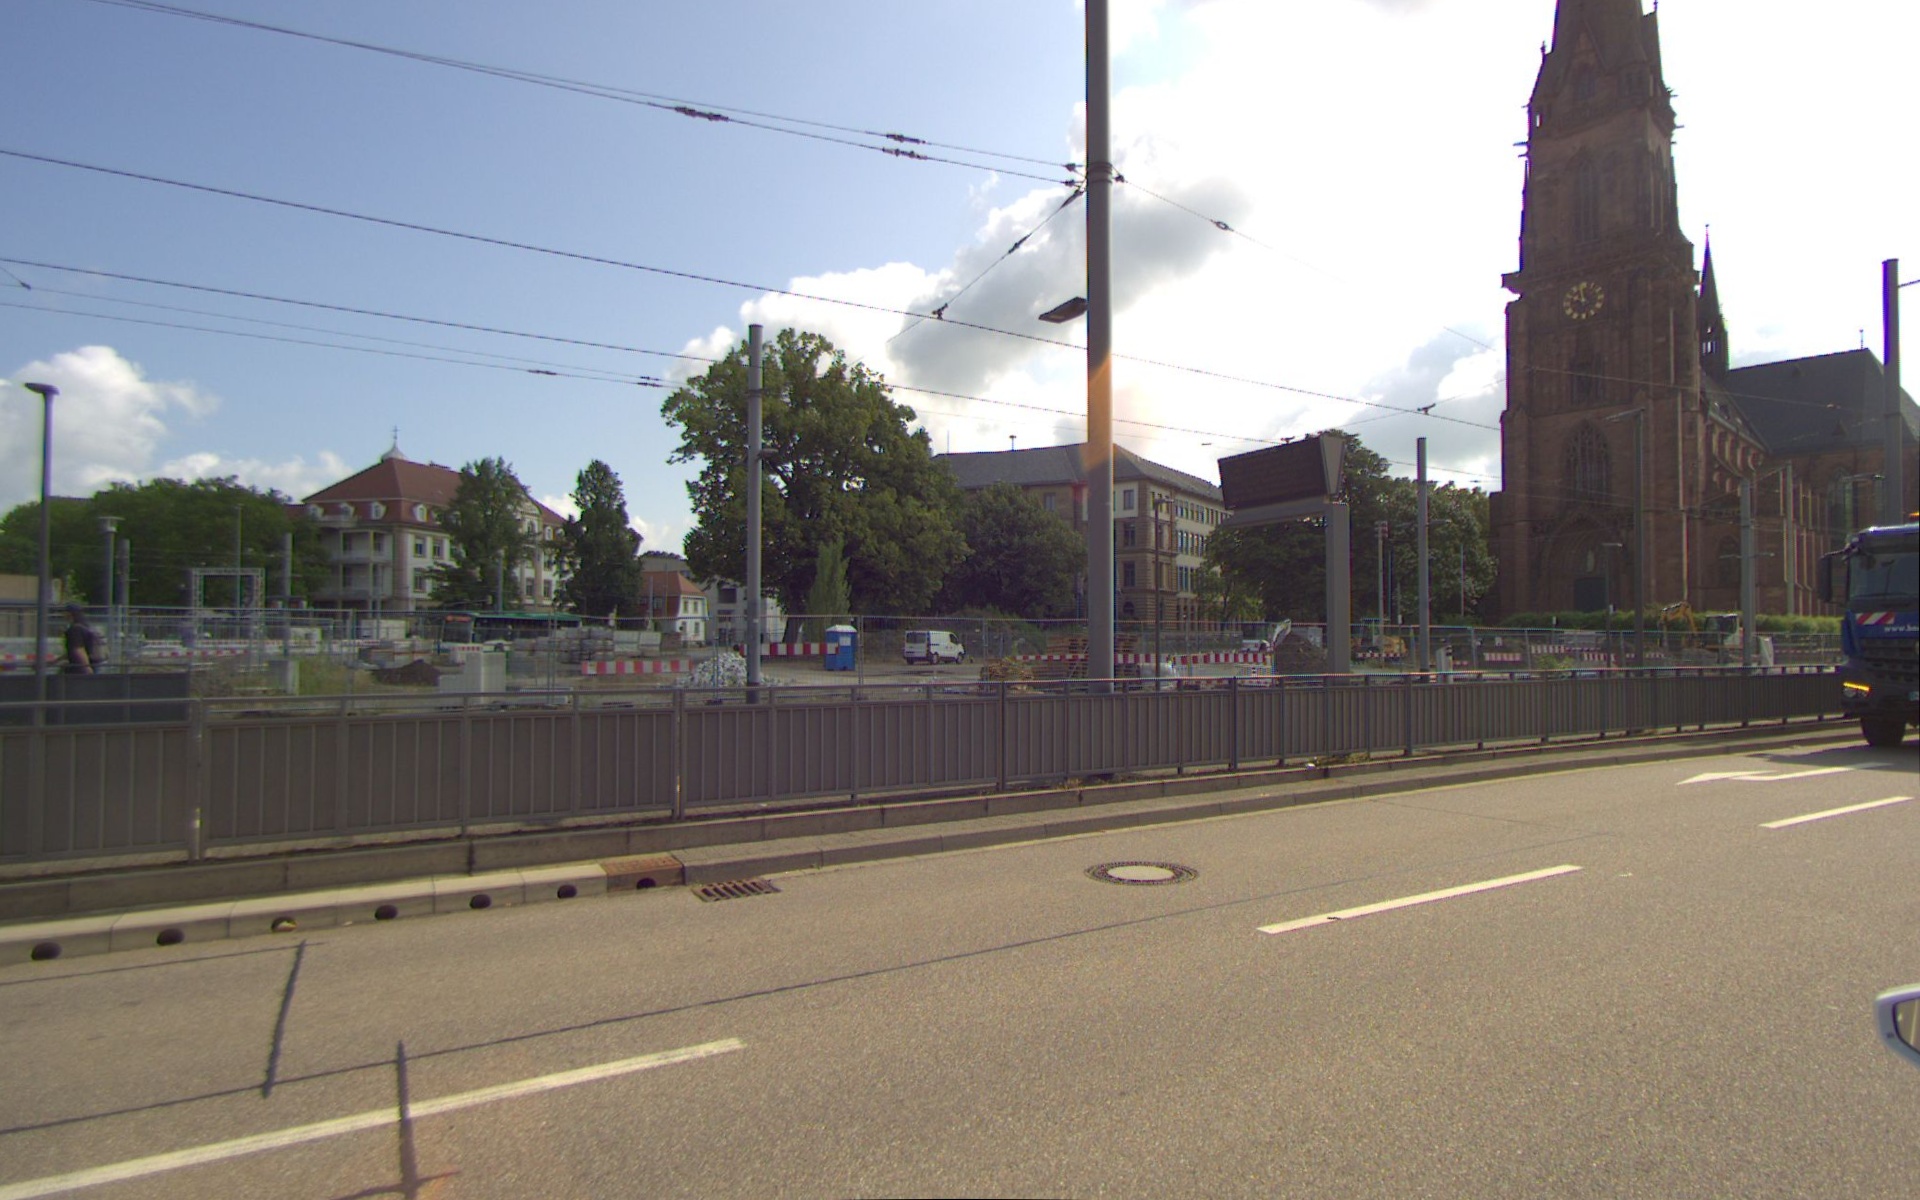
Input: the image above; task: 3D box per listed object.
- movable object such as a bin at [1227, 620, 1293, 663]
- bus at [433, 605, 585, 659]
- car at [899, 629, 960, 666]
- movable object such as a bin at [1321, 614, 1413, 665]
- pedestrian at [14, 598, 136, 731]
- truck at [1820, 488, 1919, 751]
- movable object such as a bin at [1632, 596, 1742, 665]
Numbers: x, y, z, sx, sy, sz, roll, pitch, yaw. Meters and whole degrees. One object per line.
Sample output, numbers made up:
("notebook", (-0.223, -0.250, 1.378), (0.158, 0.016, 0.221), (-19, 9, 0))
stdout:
("movable object such as a bin", (16.392, 2.202, 54.781), (1.970, 2.235, 4.252), (0, -1, 40))
("bus", (-31.709, 2.319, 71.563), (2.905, 3.554, 12.262), (0, -2, 14))
("car", (-1.787, 2.859, 60.249), (1.963, 2.040, 3.996), (2, -3, 27))
("movable object such as a bin", (23.704, 2.257, 58.689), (1.976, 2.839, 4.882), (1, -1, -29))
("pedestrian", (-12.788, 0.891, 14.562), (1.032, 1.824, 0.994), (-1, 1, -24))
("truck", (16.759, 0.347, 15.902), (7.362, 3.696, 2.452), (1, -2, -30))
("movable object such as a bin", (41.634, 1.711, 57.503), (5.513, 3.780, 2.660), (1, -1, -23))
